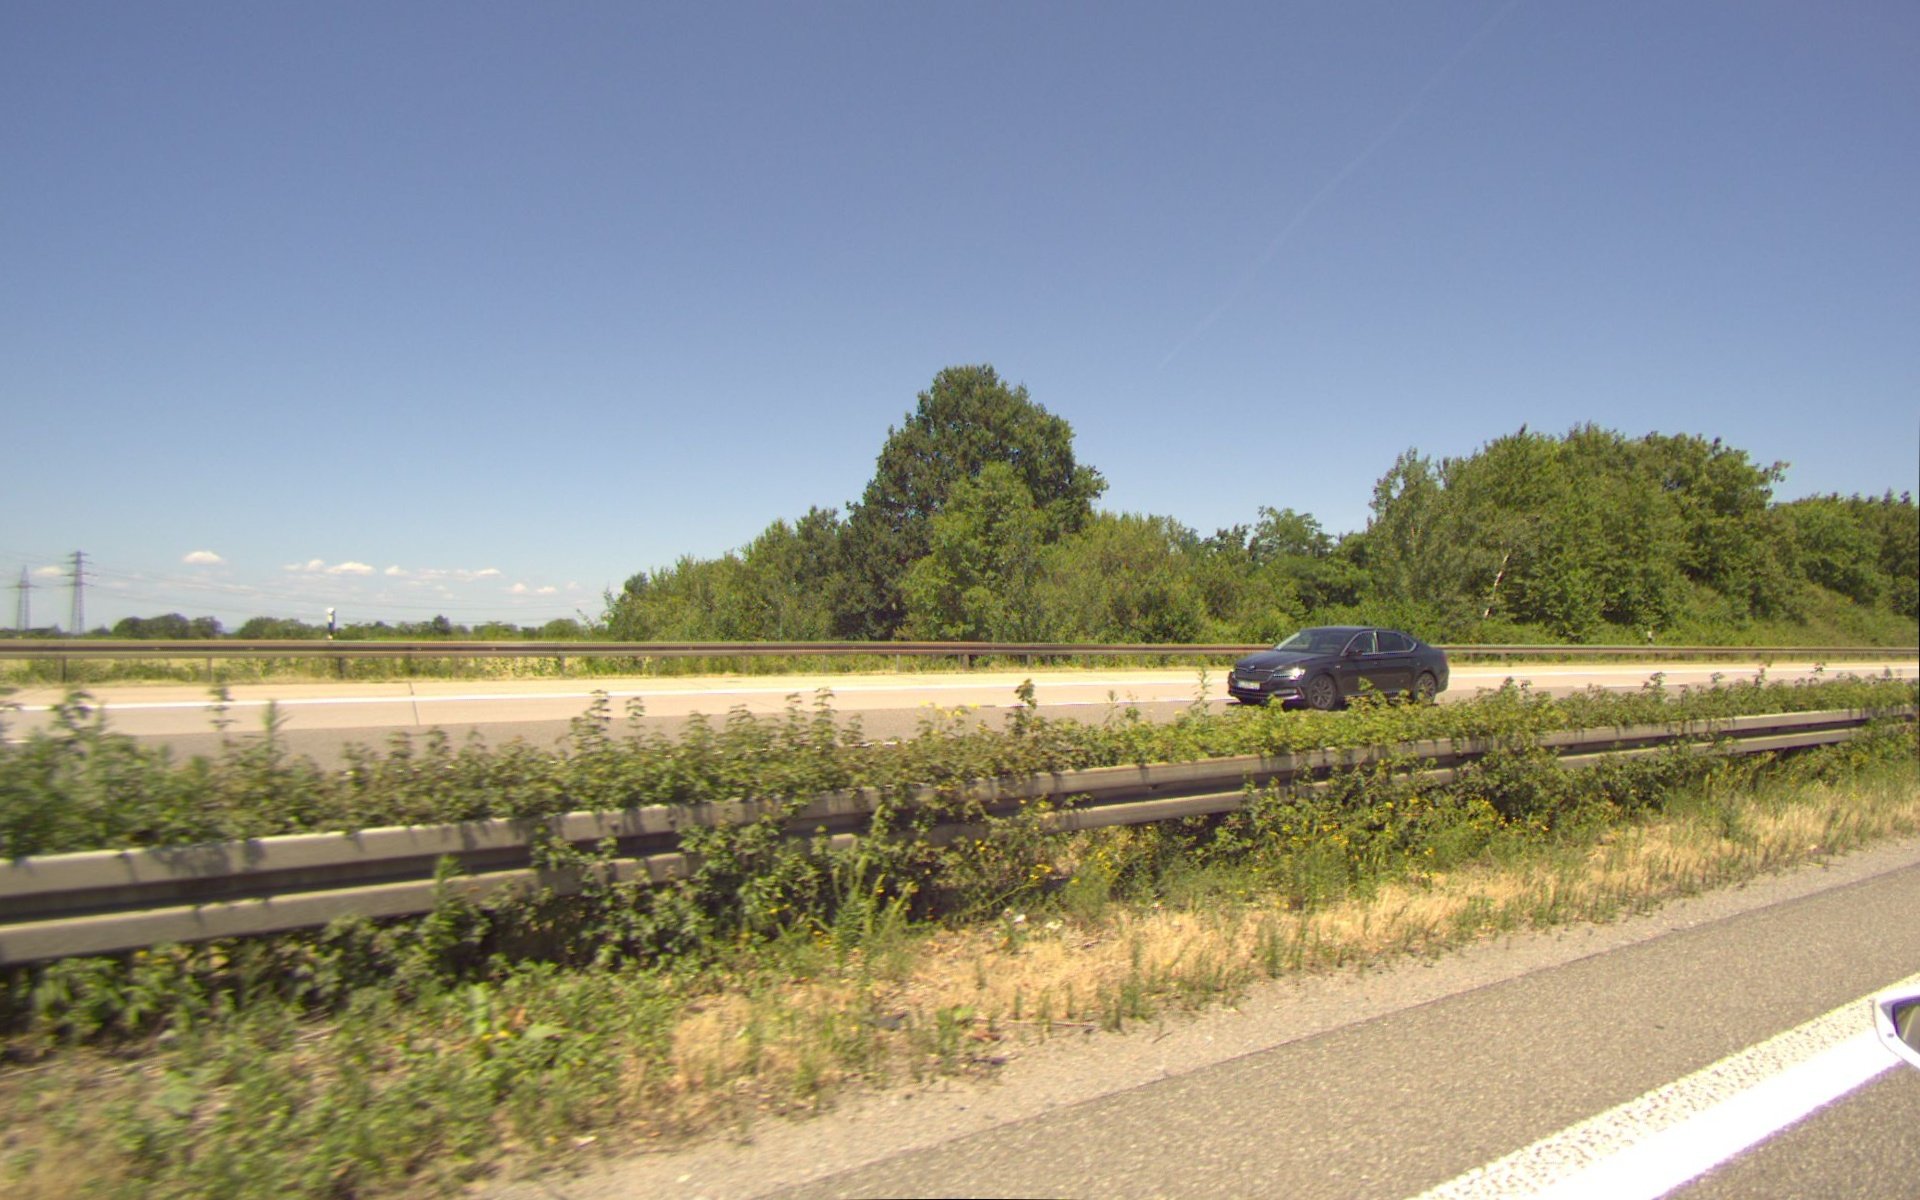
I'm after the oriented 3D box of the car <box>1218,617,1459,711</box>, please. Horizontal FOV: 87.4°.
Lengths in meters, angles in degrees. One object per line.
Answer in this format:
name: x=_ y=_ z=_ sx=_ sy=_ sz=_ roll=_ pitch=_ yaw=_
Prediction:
car: x=7.017 y=1.123 z=18.493 sx=4.449 sy=1.537 sz=1.773 roll=2 pitch=-1 yaw=-31
